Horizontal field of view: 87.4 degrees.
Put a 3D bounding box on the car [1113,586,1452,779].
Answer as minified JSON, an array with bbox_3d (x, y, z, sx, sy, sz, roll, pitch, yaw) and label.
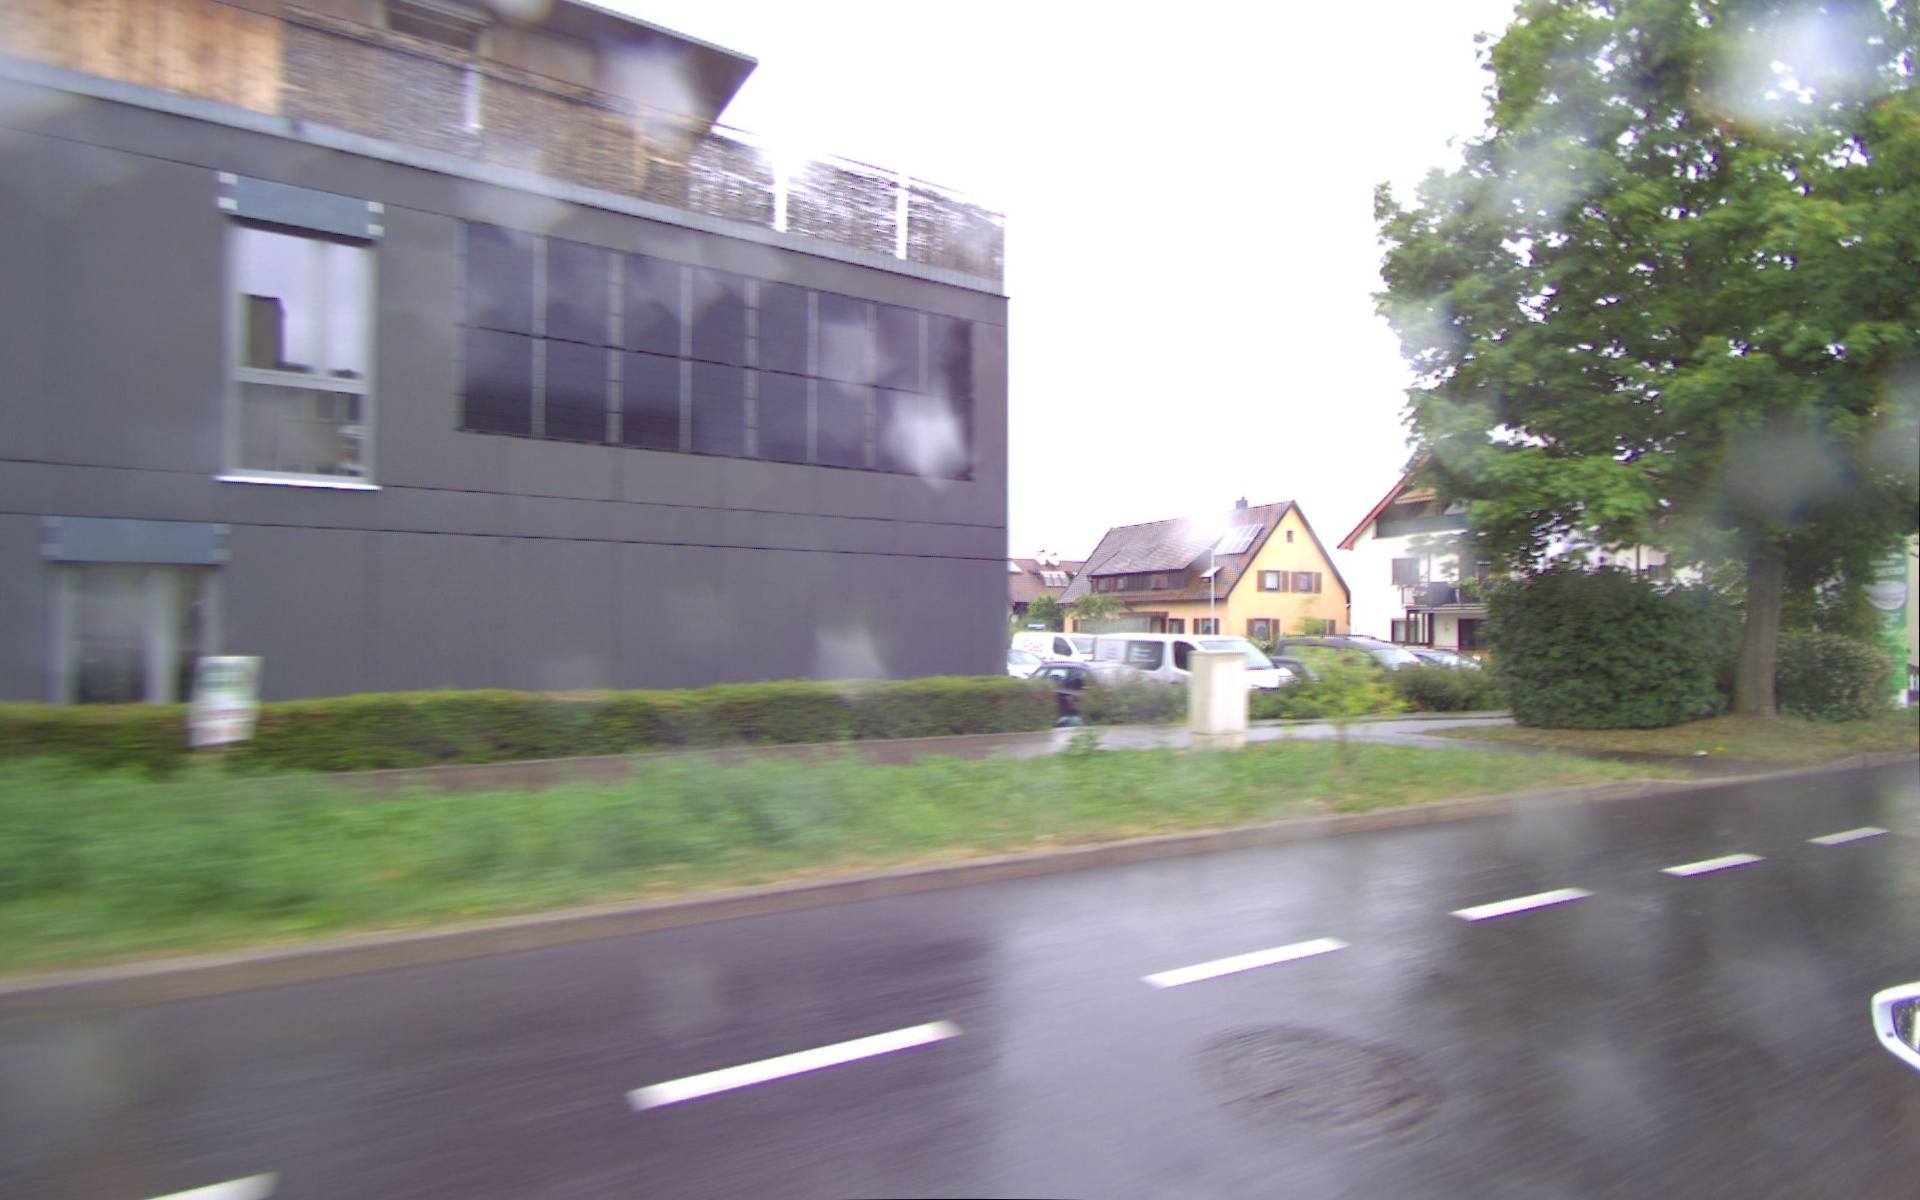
[{"bbox_3d":[2.813,0.718,9.241,1.239,1.474,2.895,4,-4,-30],"label":"car"}]

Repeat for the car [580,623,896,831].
[{"bbox_3d":[-1.753,0.793,7.319,1.454,1.174,2.895,1,-3,-30],"label":"car"}]

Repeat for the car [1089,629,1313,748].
[{"bbox_3d":[4.919,1.715,21.097,2.129,2.041,4.373,-1,1,-32],"label":"car"}]

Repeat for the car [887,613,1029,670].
[{"bbox_3d":[-0.157,1.280,30.305,2.157,1.588,4.523,2,-4,-34],"label":"car"}]

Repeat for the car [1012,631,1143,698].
[{"bbox_3d":[3.719,2.013,32.855,1.855,1.793,5.043,-1,1,-26],"label":"car"}]

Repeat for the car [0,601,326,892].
[{"bbox_3d":[-5.039,0.735,6.332,1.563,1.301,3.882,1,-3,-30],"label":"car"}]
